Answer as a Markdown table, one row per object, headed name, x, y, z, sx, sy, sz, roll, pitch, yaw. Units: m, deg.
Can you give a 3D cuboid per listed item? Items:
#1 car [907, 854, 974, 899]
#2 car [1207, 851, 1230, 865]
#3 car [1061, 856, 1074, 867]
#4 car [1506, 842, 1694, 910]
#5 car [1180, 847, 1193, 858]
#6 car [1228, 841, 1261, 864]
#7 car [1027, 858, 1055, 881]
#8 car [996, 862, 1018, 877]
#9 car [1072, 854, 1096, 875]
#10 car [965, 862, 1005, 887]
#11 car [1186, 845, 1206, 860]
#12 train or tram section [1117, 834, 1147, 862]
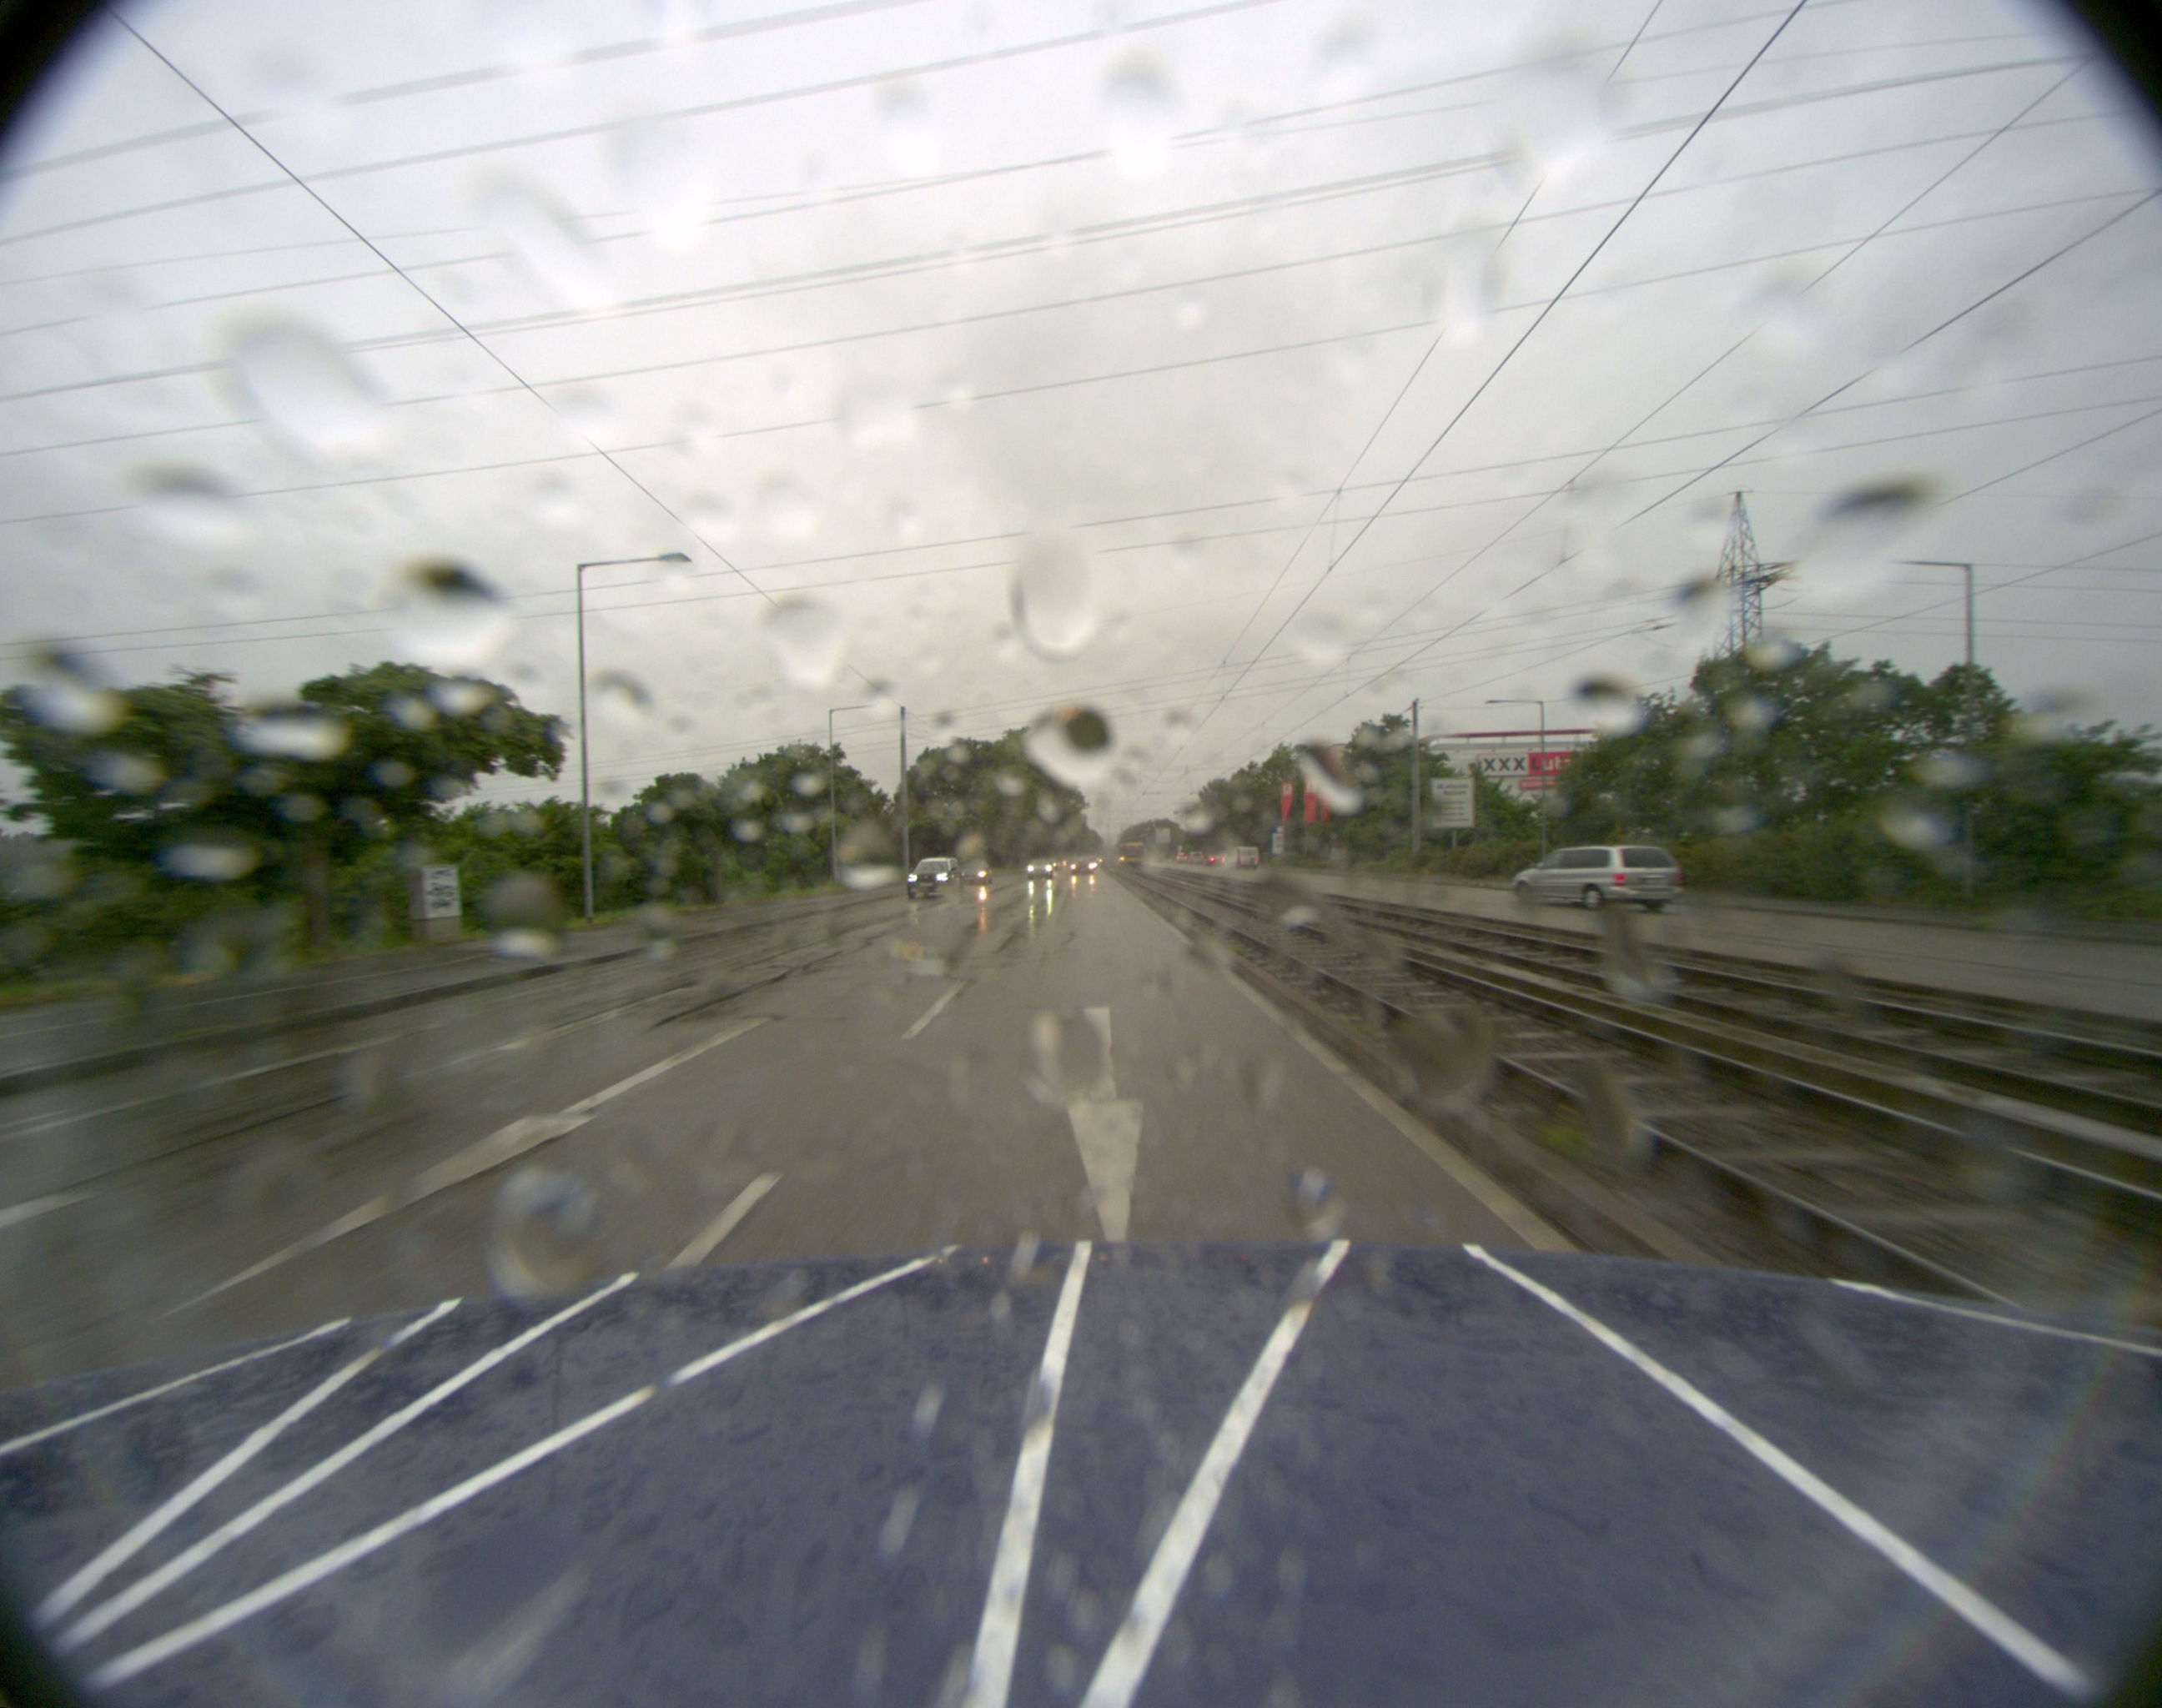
| name | x | y | z | sx | sy | sz | roll | pitch | yaw |
| --- | --- | --- | --- | --- | --- | --- | --- | --- | --- |
| car | -5.918 | 0.906 | 32.614 | 1.797 | 1.692 | 4.764 | -2 | 0 | 2 |
| car | 17.192 | 0.558 | 95.221 | 1.901 | 1.631 | 4.730 | -2 | 0 | 0 |
| car | -1.942 | 1.110 | 110.204 | 1.846 | 1.572 | 3.838 | -2 | 0 | 0 |
| car | 14.520 | 0.577 | 21.720 | 1.829 | 1.625 | 5.137 | -2 | 0 | 0 |
| car | 19.116 | -0.220 | 137.669 | 1.868 | 1.903 | 4.000 | -2 | 0 | 0 |
| car | 17.145 | -0.107 | 79.968 | 2.156 | 2.284 | 5.983 | 2 | 0 | 0 |
| car | -2.831 | 1.115 | 54.404 | 1.807 | 1.521 | 3.645 | -2 | 0 | 0 |
| car | -7.679 | 1.608 | 79.403 | 1.784 | 1.419 | 4.001 | -2 | 0 | 2 |
| car | 0.252 | 0.870 | 63.097 | 1.815 | 1.692 | 4.001 | -2 | 0 | 2 |
| car | -5.801 | 1.210 | 46.240 | 1.784 | 1.419 | 4.001 | -2 | 0 | 2 |
| car | 16.937 | -0.246 | 112.304 | 2.095 | 2.088 | 4.730 | -2 | 0 | 0 |
| train or tram section | 7.205 | -0.701 | 110.527 | 2.893 | 3.683 | 19.529 | -2 | 0 | 0 |
